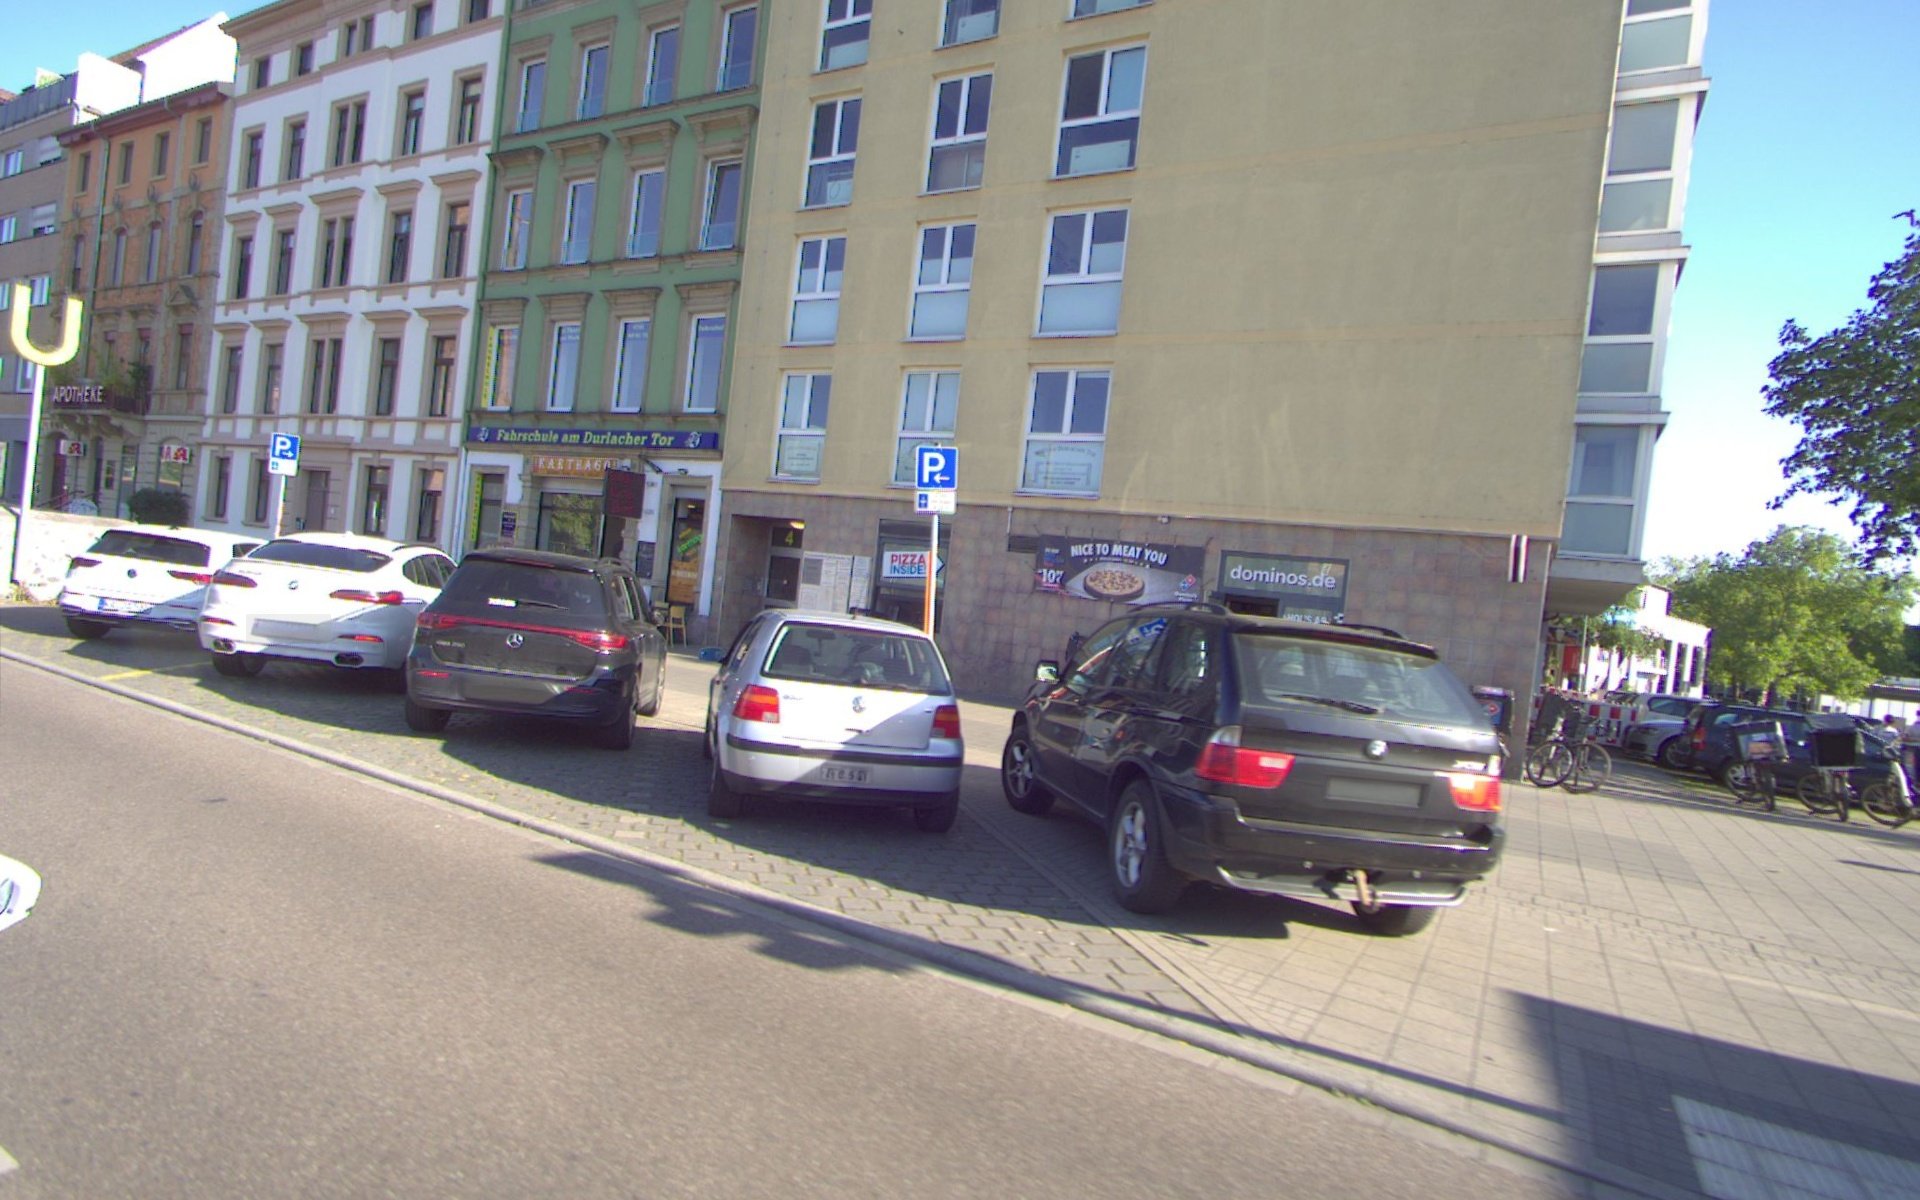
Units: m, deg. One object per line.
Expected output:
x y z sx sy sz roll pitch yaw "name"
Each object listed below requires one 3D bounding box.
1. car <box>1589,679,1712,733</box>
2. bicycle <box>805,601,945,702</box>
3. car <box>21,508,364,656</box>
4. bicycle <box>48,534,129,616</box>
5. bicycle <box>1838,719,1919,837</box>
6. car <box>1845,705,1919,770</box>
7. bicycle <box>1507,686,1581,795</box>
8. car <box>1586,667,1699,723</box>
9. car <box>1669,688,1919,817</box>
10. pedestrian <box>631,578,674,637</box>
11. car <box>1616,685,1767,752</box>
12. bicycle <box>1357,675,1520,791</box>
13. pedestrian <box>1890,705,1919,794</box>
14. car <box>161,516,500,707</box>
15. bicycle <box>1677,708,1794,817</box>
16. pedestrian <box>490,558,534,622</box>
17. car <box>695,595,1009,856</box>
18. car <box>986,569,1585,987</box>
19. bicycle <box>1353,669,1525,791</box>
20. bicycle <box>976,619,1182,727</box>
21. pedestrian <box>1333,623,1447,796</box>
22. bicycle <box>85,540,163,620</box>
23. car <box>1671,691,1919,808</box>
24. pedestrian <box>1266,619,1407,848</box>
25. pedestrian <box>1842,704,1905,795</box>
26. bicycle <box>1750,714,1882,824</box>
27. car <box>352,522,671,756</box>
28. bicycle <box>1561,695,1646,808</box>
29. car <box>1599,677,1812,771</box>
28.698 4.363 41.965 3.932 1.438 1.852 10 3 31 "car"
-1.509 0.880 17.666 2.192 1.375 0.930 10 3 34 "bicycle"
-9.987 -0.211 13.581 1.929 1.482 4.105 7 0 -11 "car"
-13.006 -0.362 15.039 0.413 1.123 1.091 8 -1 -18 "bicycle"
12.987 2.429 13.757 0.801 1.363 1.996 6 1 24 "bicycle"
36.829 5.452 38.435 3.930 2.025 1.853 10 3 28 "car"
8.099 1.907 14.027 0.648 1.265 1.897 6 1 27 "bicycle"
31.166 4.292 46.068 3.932 1.803 1.852 10 3 31 "car"
15.436 2.730 17.946 4.153 1.502 1.853 10 3 27 "car"
-6.596 0.164 21.577 0.583 1.175 0.515 7 1 37 "pedestrian"
25.426 4.086 35.176 3.932 1.438 1.852 10 3 31 "car"
6.554 1.790 13.852 1.867 1.265 0.658 6 2 27 "bicycle"
21.257 3.318 22.226 0.741 1.890 0.829 7 1 34 "pedestrian"
-6.933 0.120 11.699 1.929 1.589 4.241 8 -1 -14 "car"
11.363 2.335 14.821 0.801 1.265 1.996 6 1 24 "bicycle"
-9.927 -0.226 22.299 0.581 1.336 0.516 6 1 23 "pedestrian"
-1.078 0.811 8.000 1.761 1.415 3.885 8 -2 -14 "car"
1.676 0.899 6.915 1.928 1.835 4.244 7 -1 -11 "car"
6.226 1.660 13.136 1.867 1.265 0.658 6 2 27 "bicycle"
1.870 1.131 16.100 3.009 1.279 0.986 7 0 29 "bicycle"
5.073 1.269 11.911 0.816 1.890 0.753 6 1 0 "pedestrian"
-12.599 -0.296 15.187 0.413 1.123 1.091 8 -1 -18 "bicycle"
16.849 2.933 20.153 3.932 1.438 1.852 10 3 31 "car"
3.332 1.157 8.959 0.686 1.890 0.751 6 1 -12 "pedestrian"
20.585 3.339 22.684 0.741 1.890 0.829 7 1 34 "pedestrian"
12.186 2.361 14.404 0.801 1.216 1.996 6 1 24 "bicycle"
-4.088 0.329 9.981 1.929 1.616 4.242 7 -1 -13 "car"
8.699 2.006 13.673 0.648 1.265 1.897 6 1 27 "bicycle"
18.414 3.011 25.115 3.932 1.438 1.852 10 3 31 "car"
